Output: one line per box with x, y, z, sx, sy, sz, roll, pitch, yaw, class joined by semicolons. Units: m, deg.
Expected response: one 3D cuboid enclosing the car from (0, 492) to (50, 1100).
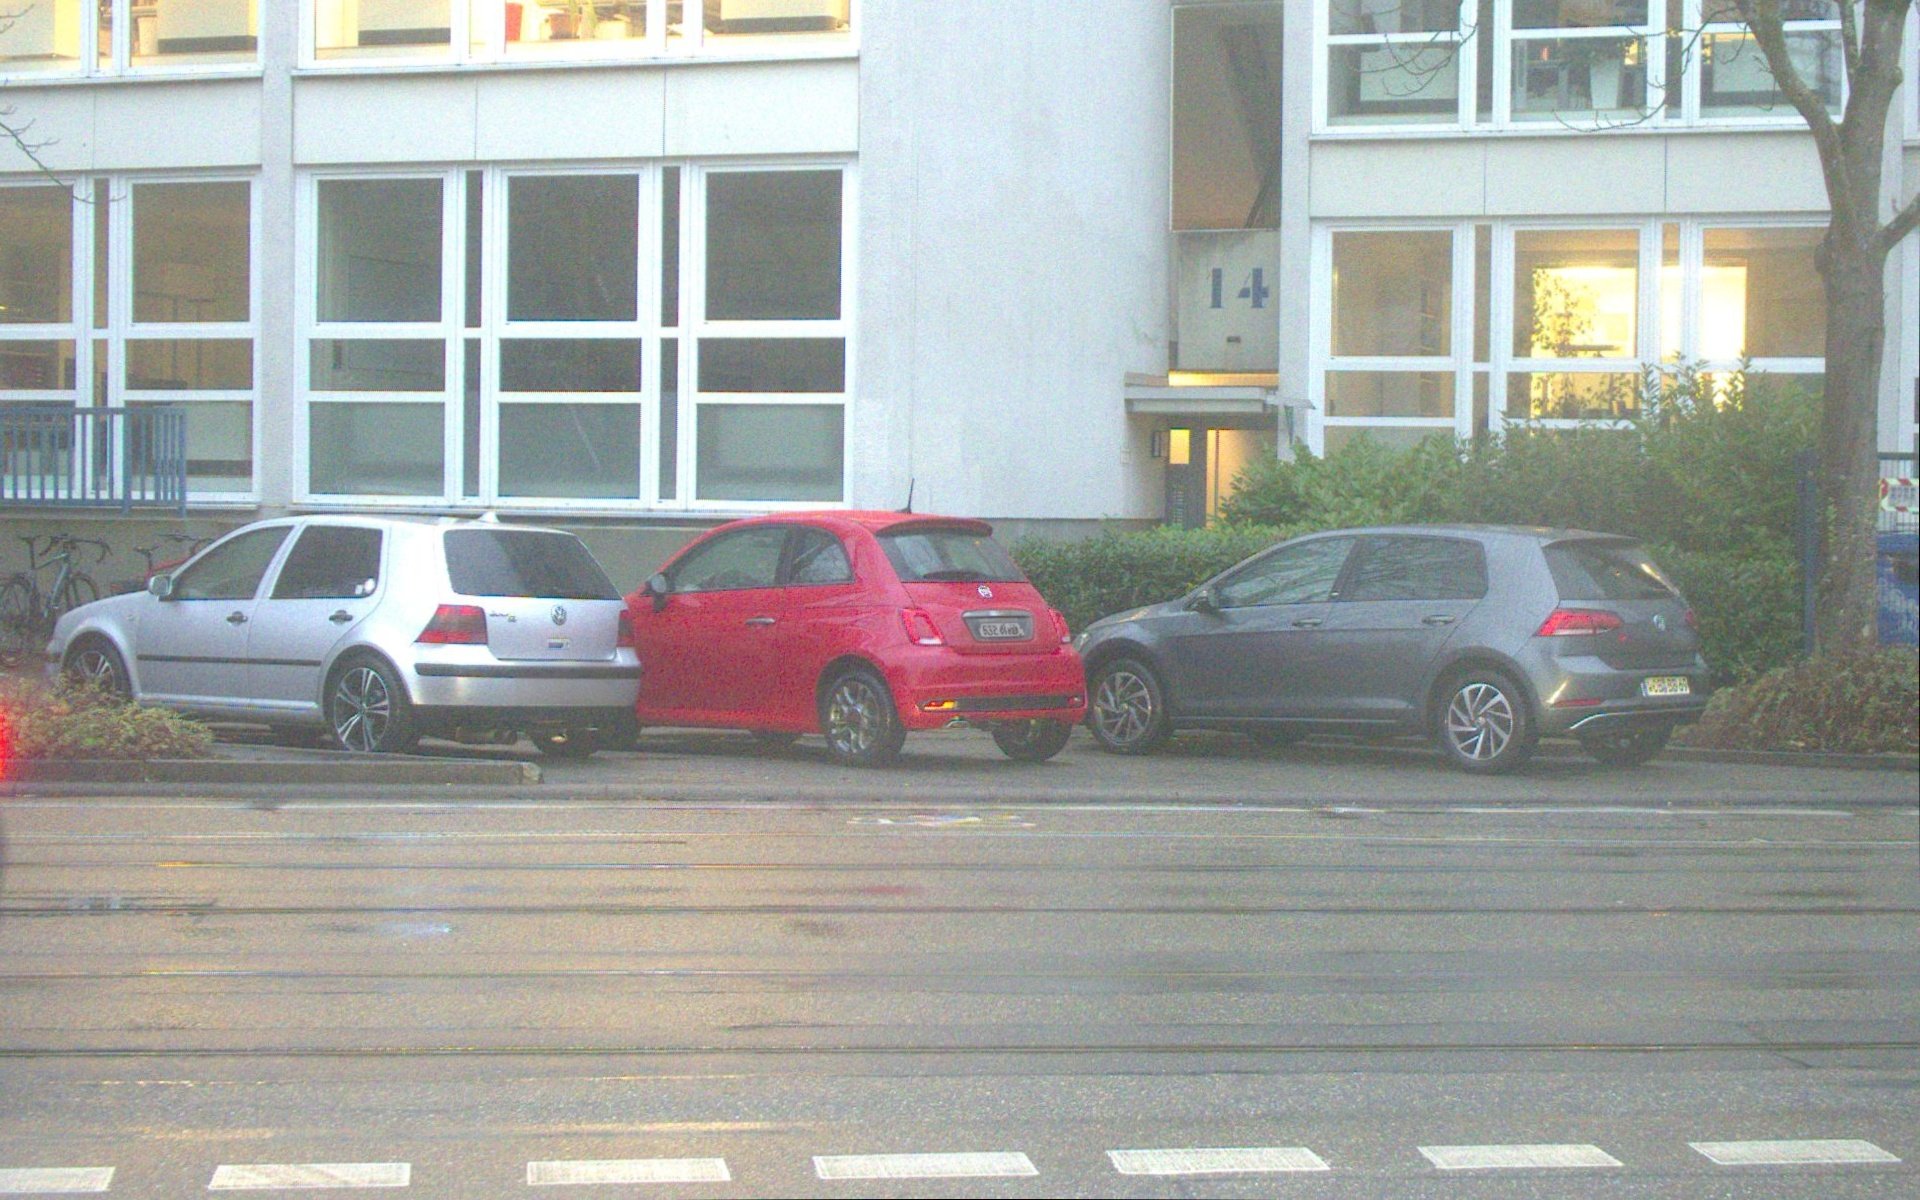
-4.566;0.477;9.429;4.290;1.539;1.749;1;2;38;car

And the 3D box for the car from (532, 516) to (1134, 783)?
-0.821;0.233;21.031;3.448;1.487;1.725;1;2;42;car

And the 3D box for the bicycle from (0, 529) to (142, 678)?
-7.273;0.006;27.014;0.640;1.117;2.204;0;1;16;bicycle

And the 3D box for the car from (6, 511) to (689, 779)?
-3.691;0.192;20.443;3.996;1.441;1.789;1;2;38;car

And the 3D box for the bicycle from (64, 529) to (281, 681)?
-6.082;0.016;26.684;0.640;1.117;2.204;0;1;16;bicycle

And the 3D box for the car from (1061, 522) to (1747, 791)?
2.652;0.270;20.999;3.850;1.487;1.692;1;2;40;car
